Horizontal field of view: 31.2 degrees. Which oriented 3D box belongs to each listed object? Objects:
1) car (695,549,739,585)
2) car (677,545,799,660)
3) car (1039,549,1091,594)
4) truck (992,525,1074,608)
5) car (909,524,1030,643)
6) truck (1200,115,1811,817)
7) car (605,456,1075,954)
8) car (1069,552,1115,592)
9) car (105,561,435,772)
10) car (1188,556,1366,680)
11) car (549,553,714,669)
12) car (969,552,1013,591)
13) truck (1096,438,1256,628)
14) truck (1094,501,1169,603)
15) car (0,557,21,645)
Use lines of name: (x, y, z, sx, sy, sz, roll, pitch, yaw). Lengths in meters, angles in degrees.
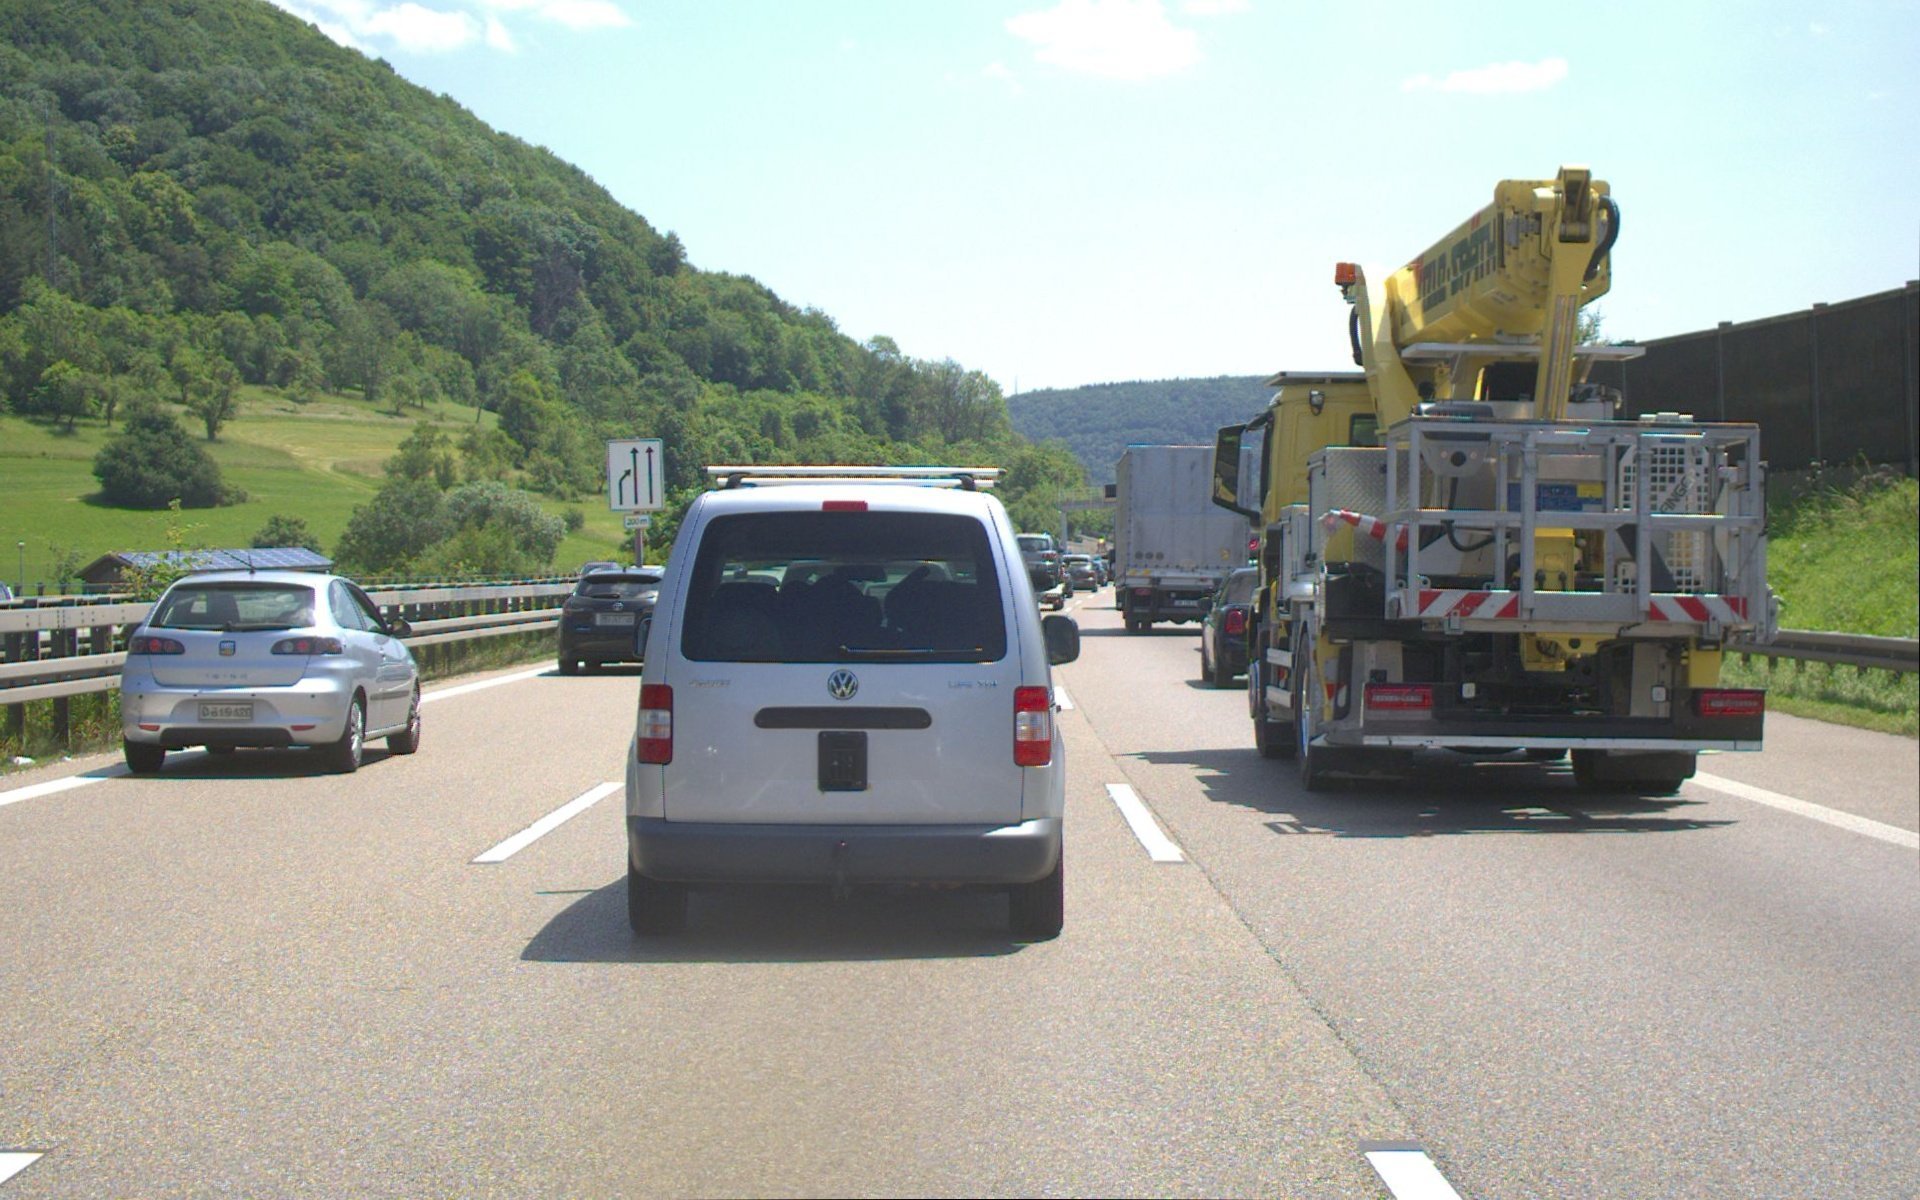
car: (-13.274, -1.801, 187.775, 2.060, 1.935, 4.661, 0, 1, 0)
car: (-4.022, 0.010, 62.910, 1.993, 2.007, 4.000, -1, 1, -1)
car: (4.241, -1.142, 138.862, 1.993, 1.799, 4.000, 1, 0, 0)
truck: (2.260, -1.064, 108.328, 2.390, 2.532, 5.940, 0, 1, -1)
car: (0.132, -0.303, 58.892, 1.993, 1.969, 4.000, 0, 1, -1)
truck: (3.368, -0.809, 23.650, 2.704, 3.929, 8.722, 0, 1, -1)
car: (-0.476, 0.367, 14.899, 1.756, 1.861, 4.000, 0, 1, -1)
car: (6.098, -1.301, 159.003, 1.993, 1.799, 4.000, 1, 0, 0)
car: (-5.037, 0.433, 25.577, 1.695, 1.440, 3.862, 0, 1, 0)
car: (3.854, 0.184, 42.331, 1.786, 1.453, 3.771, 0, 1, -1)
car: (-4.451, 0.118, 47.094, 1.925, 1.494, 4.000, 1, 1, -1)
car: (1.448, -1.335, 160.825, 1.993, 1.799, 4.000, 1, 0, 0)
truck: (4.543, -1.375, 73.854, 2.940, 3.810, 8.236, 1, 0, 1)
truck: (5.589, -1.541, 112.975, 1.993, 3.240, 6.800, 1, 0, -1)
car: (-15.751, 0.021, 52.730, 1.690, 1.363, 3.741, 0, 1, 0)
